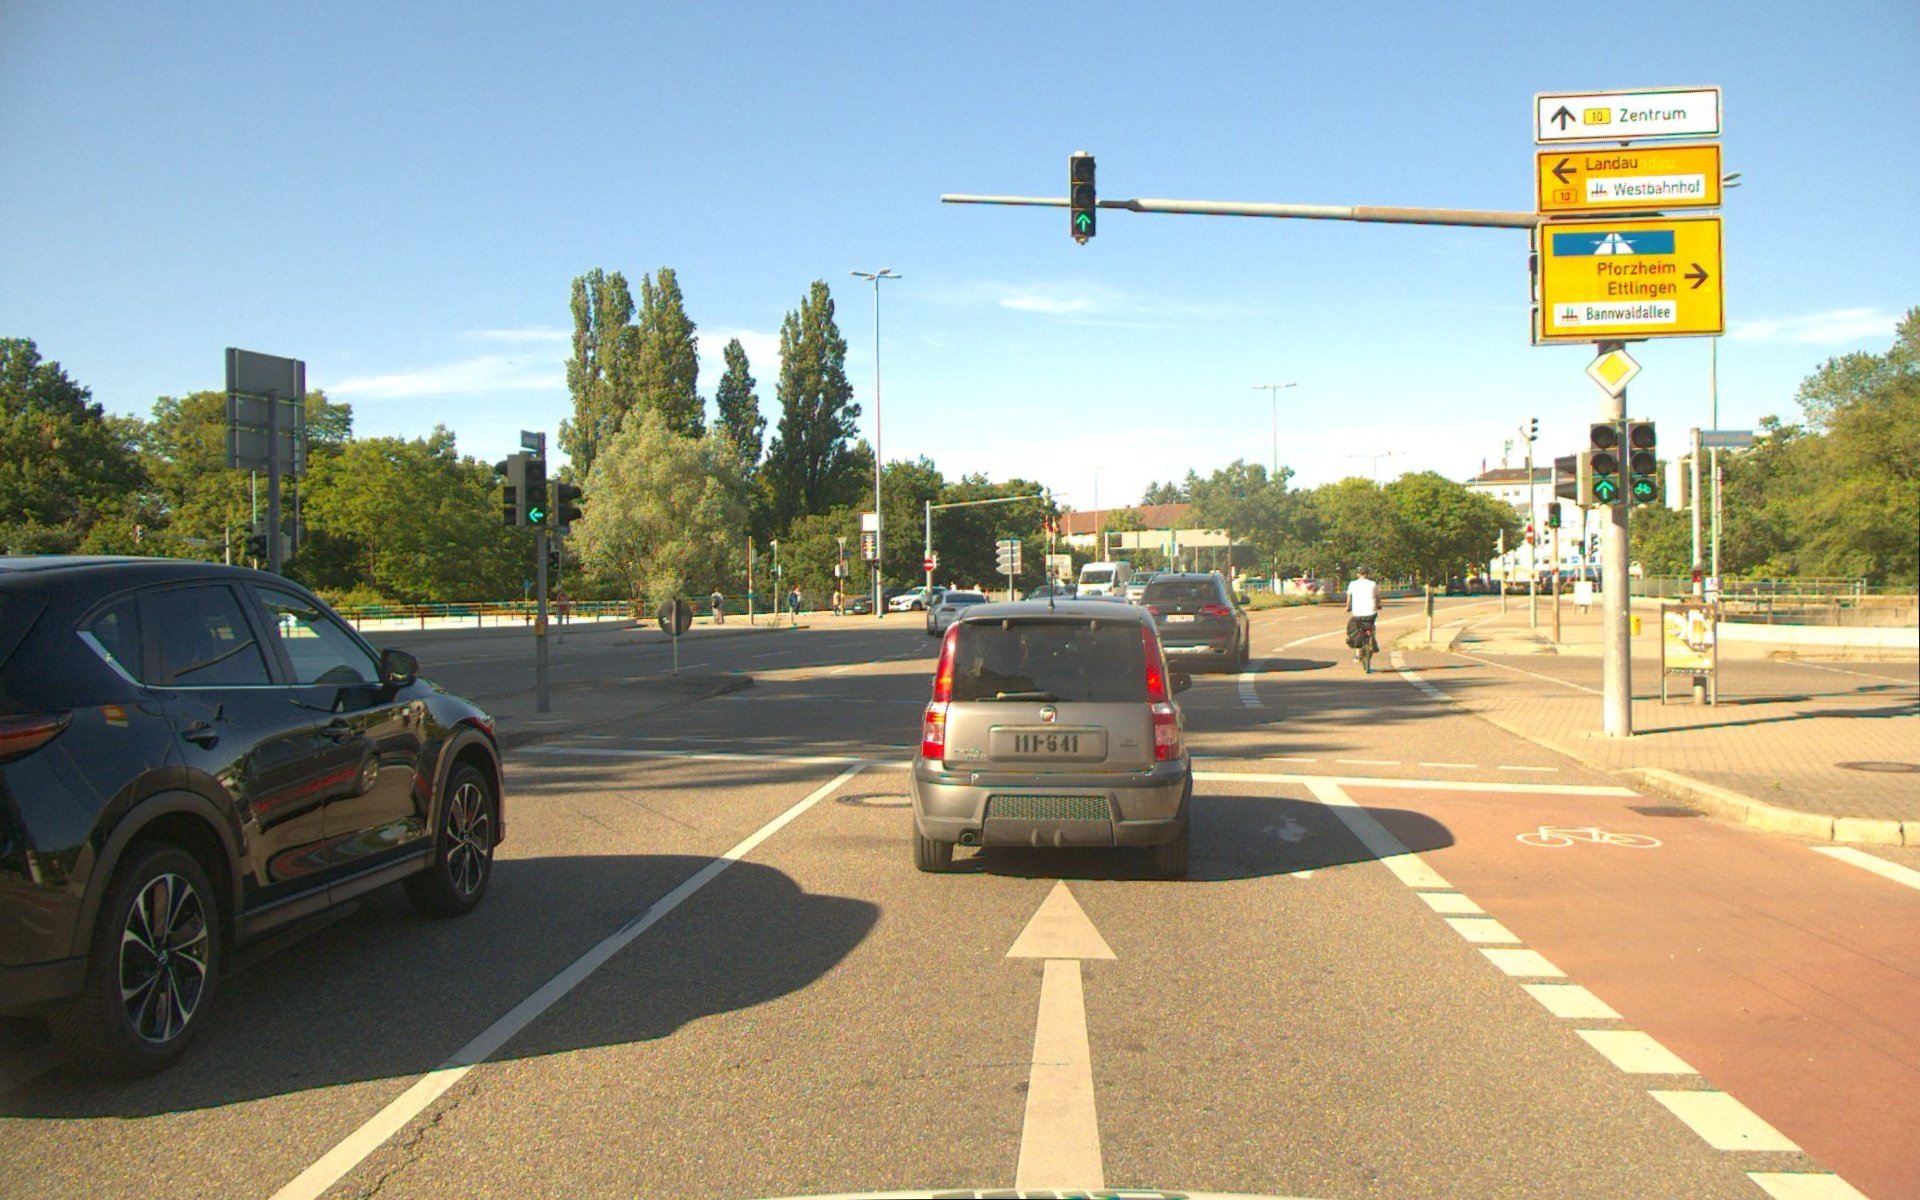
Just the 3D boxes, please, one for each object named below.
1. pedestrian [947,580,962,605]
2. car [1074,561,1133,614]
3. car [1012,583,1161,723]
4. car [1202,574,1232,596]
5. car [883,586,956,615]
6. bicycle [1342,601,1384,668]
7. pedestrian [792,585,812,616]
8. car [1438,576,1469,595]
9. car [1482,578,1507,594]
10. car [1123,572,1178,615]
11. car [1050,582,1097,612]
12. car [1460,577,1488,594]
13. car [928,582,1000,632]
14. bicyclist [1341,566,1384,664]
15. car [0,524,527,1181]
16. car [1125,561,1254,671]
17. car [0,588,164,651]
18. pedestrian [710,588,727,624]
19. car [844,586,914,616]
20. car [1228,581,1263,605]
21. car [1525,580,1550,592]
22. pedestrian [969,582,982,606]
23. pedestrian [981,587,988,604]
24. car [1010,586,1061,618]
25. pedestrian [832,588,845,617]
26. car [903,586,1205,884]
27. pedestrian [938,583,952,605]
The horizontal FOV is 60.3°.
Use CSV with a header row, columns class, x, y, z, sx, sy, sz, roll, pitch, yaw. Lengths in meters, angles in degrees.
class,x,y,z,sx,sy,sz,roll,pitch,yaw
pedestrian,-0.375,-0.508,114.107,0.774,1.693,0.628,0,-2,29
car,7.489,-0.655,85.829,1.895,2.621,6.093,-1,1,16
car,1.553,0.551,19.692,1.583,1.488,3.753,1,1,6
car,22.887,-1.309,147.242,1.952,1.848,4.000,0,-1,20
car,-2.352,0.022,96.463,1.755,1.562,4.298,1,2,45
bicycle,7.042,0.584,28.944,0.676,1.121,1.828,0,1,13
pedestrian,-8.108,0.032,84.886,0.702,1.574,0.721,-1,-1,-32
car,40.678,-1.208,136.239,1.906,1.555,4.096,-1,0,24
car,53.740,-1.436,166.162,1.906,1.555,4.095,-1,0,25
car,9.475,-0.340,82.036,1.895,2.043,4.935,-1,1,16
car,6.445,-0.188,93.514,1.772,1.568,4.620,-2,0,15
car,46.564,-1.333,149.789,1.906,1.555,4.095,-1,0,24
car,0.070,0.187,51.038,1.746,1.439,4.313,-1,0,-6
bicyclist,7.048,0.251,29.003,0.708,1.688,1.114,0,0,13
car,-3.313,0.665,6.482,1.835,1.739,4.199,-1,0,4
car,4.320,0.263,30.631,1.904,1.872,4.156,-1,0,14
car,-23.504,0.505,43.435,4.348,1.567,1.953,-1,0,9
pedestrian,-10.030,0.234,68.798,0.666,1.489,0.701,-1,0,-10
car,-4.840,0.085,99.120,3.966,1.654,1.871,2,-2,-43
car,20.707,-0.500,119.933,1.896,1.650,4.508,-1,1,18
car,75.892,-1.802,217.443,1.914,1.555,4.079,-1,0,38
pedestrian,1.106,-0.448,118.820,0.705,1.670,0.672,0,-1,21
pedestrian,1.746,-0.328,118.737,0.414,1.156,0.398,0,-2,21
car,4.002,0.086,86.695,1.895,1.534,4.004,-2,0,14
pedestrian,-6.751,0.132,92.104,0.548,1.574,0.573,-1,-1,-20
car,0.690,0.693,10.690,1.583,1.542,3.822,1,1,6
pedestrian,-1.059,-0.391,116.870,0.659,1.529,0.776,0,-2,36
